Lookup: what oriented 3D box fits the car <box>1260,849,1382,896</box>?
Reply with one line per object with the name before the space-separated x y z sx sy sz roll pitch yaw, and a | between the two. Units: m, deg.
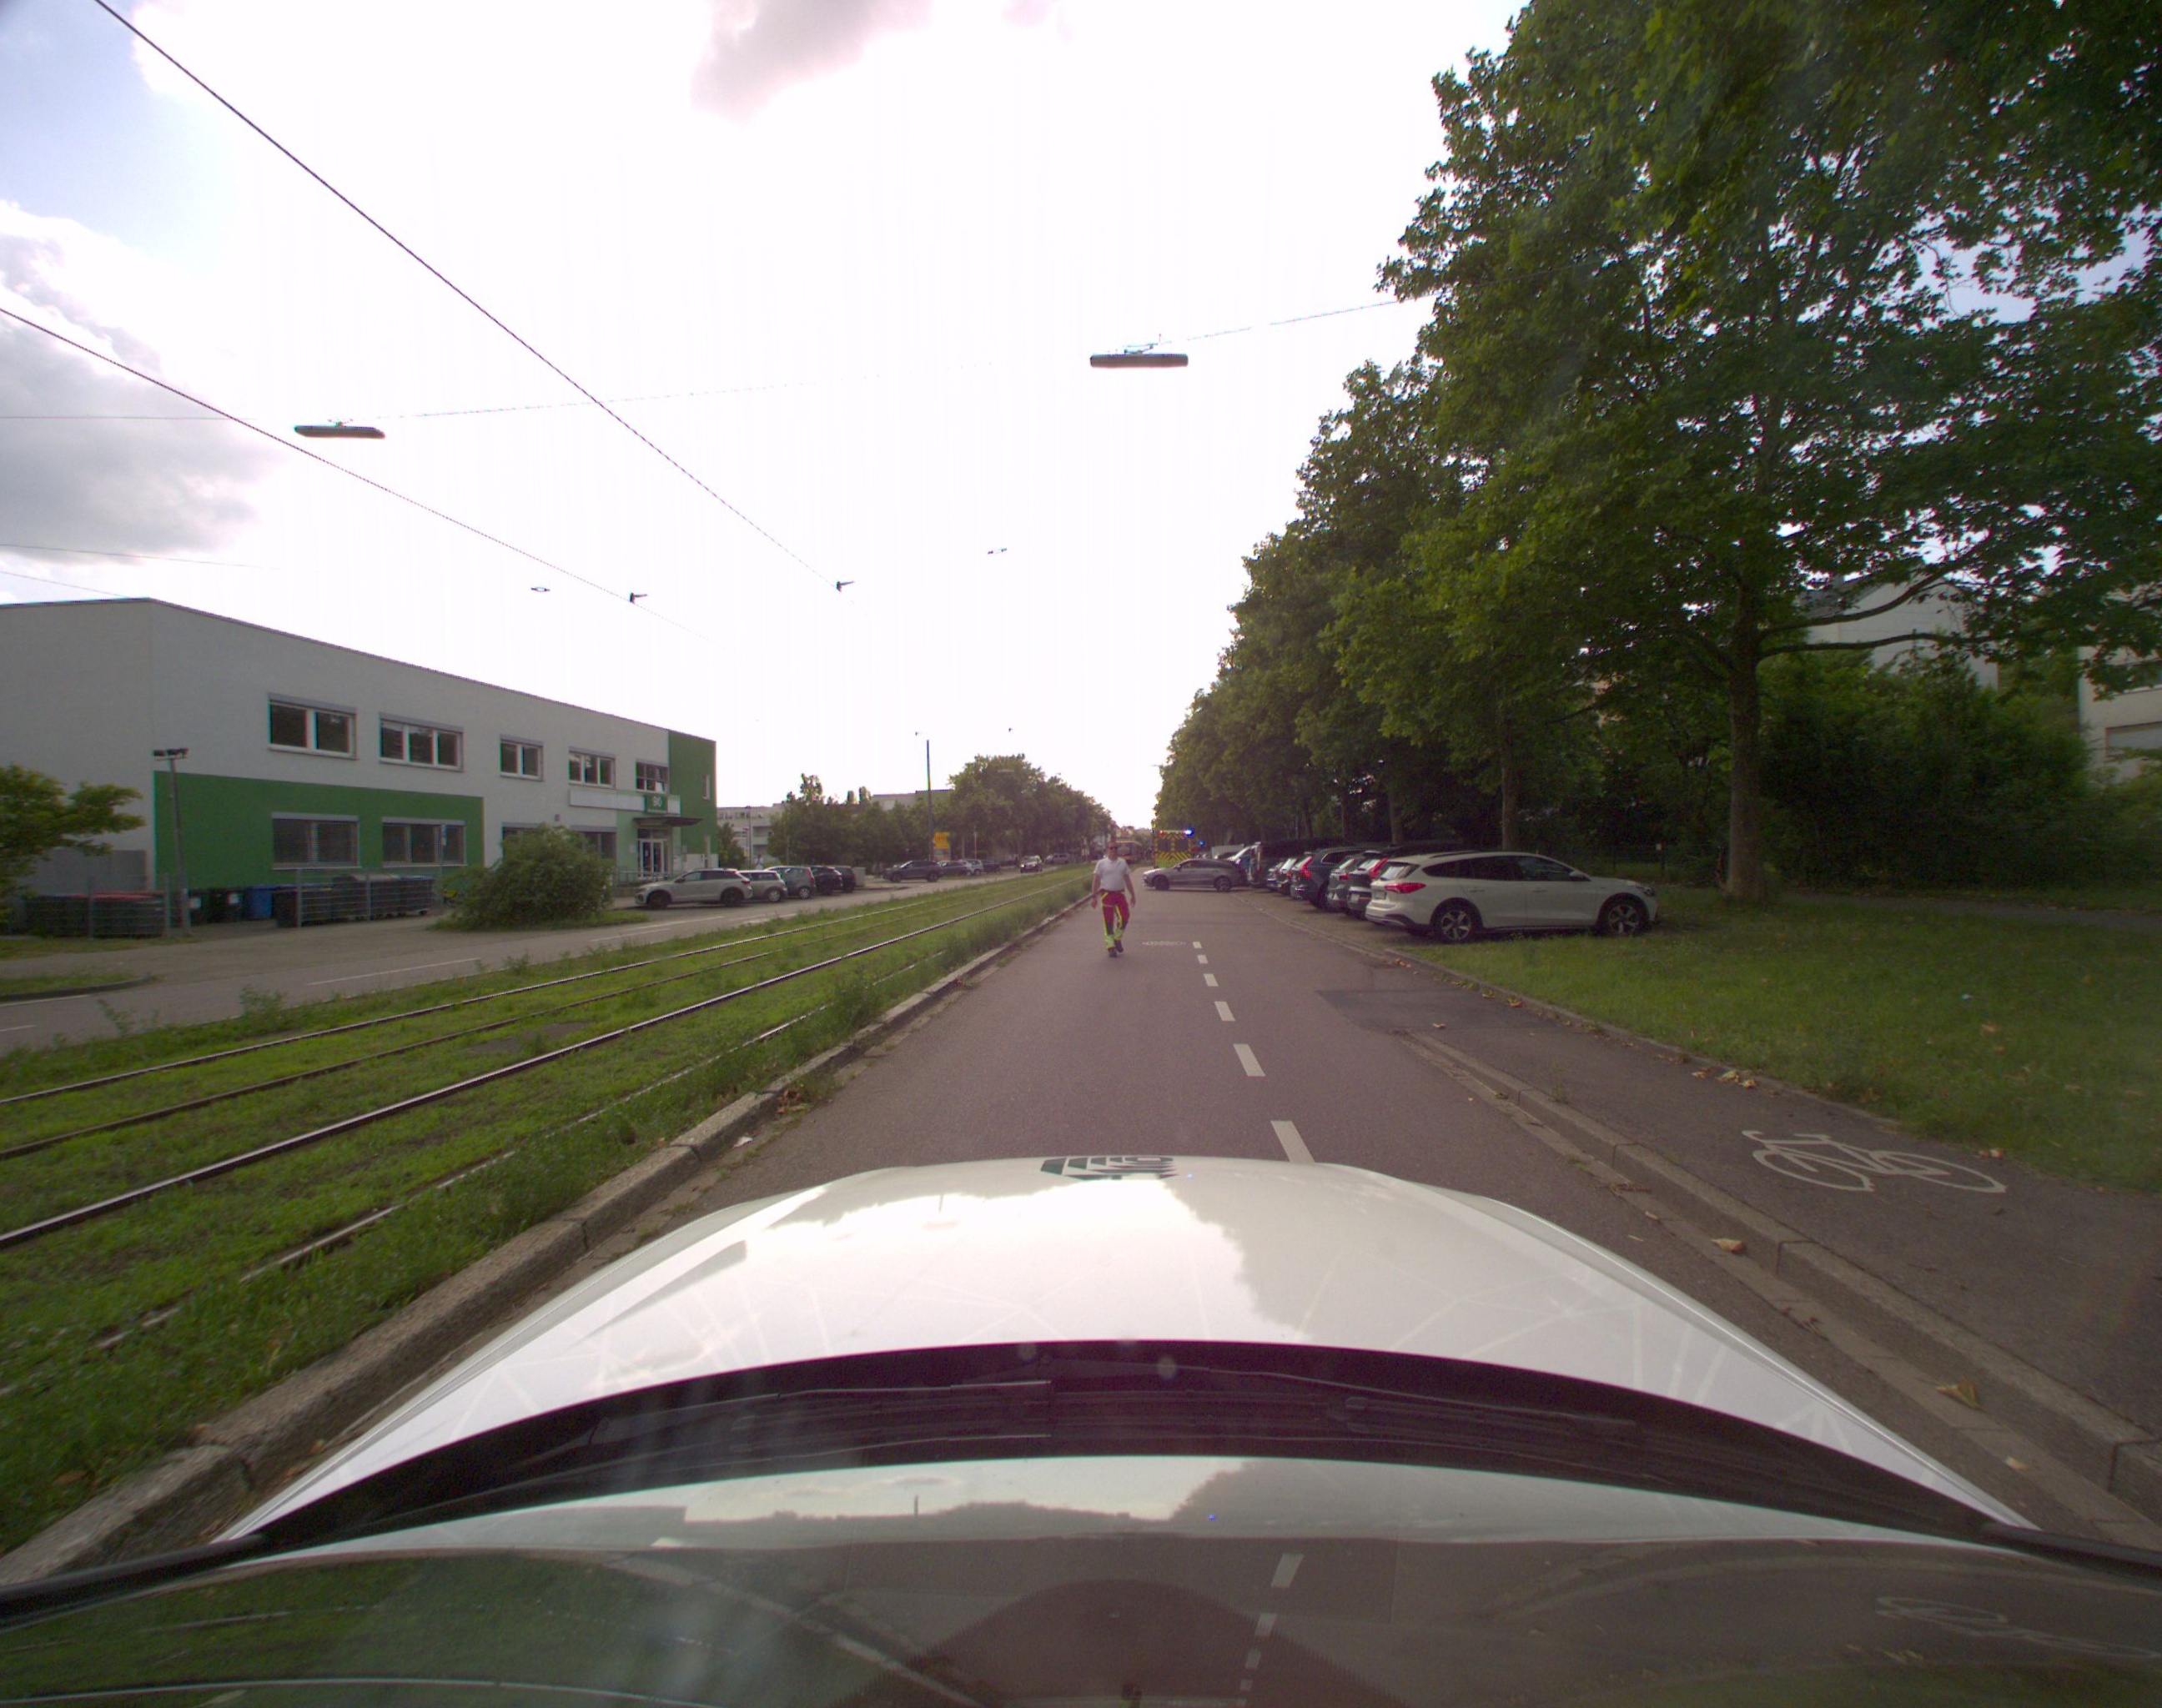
car | 8.678 0.657 29.730 3.947 1.494 1.758 -2 -1 5

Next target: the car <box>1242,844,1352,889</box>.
car | 9.665 0.555 36.712 4.524 1.766 1.858 -2 0 5

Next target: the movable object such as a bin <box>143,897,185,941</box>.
movable object such as a bin | -22.910 1.625 20.345 0.502 1.042 0.482 0 1 5

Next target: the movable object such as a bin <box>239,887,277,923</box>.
movable object such as a bin | -25.101 1.543 24.840 0.565 1.042 0.565 0 1 6

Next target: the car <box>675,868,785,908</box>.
car | -15.142 1.433 35.279 4.241 1.482 1.868 -2 0 -24

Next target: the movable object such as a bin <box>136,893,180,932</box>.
movable object such as a bin | -25.379 1.604 22.394 0.565 1.042 0.565 0 1 6

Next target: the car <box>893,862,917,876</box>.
car | -23.354 1.987 108.140 1.984 1.750 4.006 0 0 5

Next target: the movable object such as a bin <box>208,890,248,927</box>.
movable object such as a bin | -25.198 1.593 24.067 0.565 1.042 0.565 0 1 6

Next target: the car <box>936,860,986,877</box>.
car | -11.017 1.297 74.826 4.248 1.482 1.865 0 -1 -30

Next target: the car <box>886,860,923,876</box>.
car | -20.233 1.562 93.326 3.948 1.750 2.013 0 0 37

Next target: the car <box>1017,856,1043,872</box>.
car | -5.214 0.999 83.354 1.984 1.557 4.376 -3 0 5

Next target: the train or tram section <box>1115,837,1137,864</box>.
train or tram section | 6.304 -0.420 113.063 2.500 3.584 7.455 -3 -1 5

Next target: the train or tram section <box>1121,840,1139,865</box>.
train or tram section | 7.713 -0.204 127.896 2.500 3.584 7.455 -3 -1 5

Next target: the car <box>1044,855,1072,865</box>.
car | -4.140 1.100 147.357 4.646 1.633 1.863 -2 0 -34

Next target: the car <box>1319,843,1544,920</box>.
car | 7.823 0.595 18.546 4.357 1.501 1.760 -2 0 7

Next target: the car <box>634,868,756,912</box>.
car | -15.311 1.371 32.352 4.247 1.482 1.866 -2 0 -29

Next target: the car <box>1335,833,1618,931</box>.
car | 7.623 0.518 16.047 4.641 1.626 1.848 -2 0 1

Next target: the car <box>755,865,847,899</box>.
car | -14.228 1.393 41.378 4.241 1.482 1.868 -2 0 -24

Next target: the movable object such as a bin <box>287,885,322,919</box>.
movable object such as a bin | -24.937 1.543 26.151 0.565 1.042 0.565 0 1 6

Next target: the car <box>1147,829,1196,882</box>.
car | 5.471 0.093 48.852 2.627 2.966 6.312 1 0 7

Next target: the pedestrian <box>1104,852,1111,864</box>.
pedestrian | 3.307 0.490 101.174 0.876 1.525 0.752 0 -1 5

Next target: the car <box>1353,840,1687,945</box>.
car | 7.263 0.605 13.835 4.641 1.473 1.848 -2 0 1

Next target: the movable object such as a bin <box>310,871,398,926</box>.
movable object such as a bin | -21.909 1.320 24.578 1.000 1.519 1.715 0 1 8

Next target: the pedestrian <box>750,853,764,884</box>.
pedestrian | -19.730 0.881 49.573 0.543 1.828 0.509 -2 0 3

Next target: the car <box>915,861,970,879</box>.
car | -11.696 1.317 68.925 4.248 1.482 1.865 0 -1 -30

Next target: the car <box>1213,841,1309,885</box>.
car | 9.197 0.468 41.853 4.529 2.001 1.856 -2 0 1

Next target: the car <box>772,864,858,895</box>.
car | -14.494 1.373 44.388 4.241 1.482 1.868 -2 0 -24

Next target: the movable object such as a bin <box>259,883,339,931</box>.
movable object such as a bin | -22.114 1.482 23.051 1.000 1.234 1.259 0 1 8

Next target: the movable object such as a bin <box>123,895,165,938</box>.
movable object such as a bin | -23.464 1.555 20.398 0.491 1.042 0.480 0 1 5

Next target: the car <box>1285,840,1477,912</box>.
car | 7.690 0.561 21.248 4.357 1.639 1.760 -2 0 7

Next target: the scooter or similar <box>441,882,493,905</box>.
scooter or similar | -24.012 1.544 31.844 1.726 0.899 0.459 0 -1 5

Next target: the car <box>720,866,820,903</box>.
car | -14.612 1.387 38.317 4.241 1.482 1.868 -2 0 -24

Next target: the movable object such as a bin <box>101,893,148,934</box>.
movable object such as a bin | -25.436 1.584 21.658 0.565 1.042 0.565 0 1 6

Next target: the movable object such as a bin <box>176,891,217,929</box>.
movable object such as a bin | -25.308 1.600 23.306 0.565 1.042 0.565 0 1 6

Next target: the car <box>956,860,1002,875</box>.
car | -10.362 1.349 83.017 4.252 1.482 1.863 0 -1 -34

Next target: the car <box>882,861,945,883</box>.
car | -12.107 1.267 58.768 4.234 1.482 1.871 0 -1 -20

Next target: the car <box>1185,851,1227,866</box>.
car | 14.463 0.503 94.545 4.529 1.608 1.856 -2 0 1

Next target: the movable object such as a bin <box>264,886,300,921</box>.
movable object such as a bin | -25.003 1.552 25.490 0.565 1.042 0.565 0 1 6

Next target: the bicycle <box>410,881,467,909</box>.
bicycle | -23.937 1.522 30.336 1.848 0.986 0.459 0 -1 5

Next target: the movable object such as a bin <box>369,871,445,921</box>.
movable object such as a bin | -21.694 1.326 26.265 1.000 1.519 1.608 0 1 8

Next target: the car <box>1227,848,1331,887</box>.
car | 9.474 0.644 39.276 4.530 1.660 1.856 -2 0 1

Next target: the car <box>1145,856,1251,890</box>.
car | 5.164 0.818 35.922 4.420 1.385 1.774 0 0 16

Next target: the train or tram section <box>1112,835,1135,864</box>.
train or tram section | 5.611 -0.529 105.653 2.500 3.584 7.455 -3 -1 5

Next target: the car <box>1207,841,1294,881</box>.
car | 9.605 0.413 46.437 4.529 2.043 1.856 -2 0 1

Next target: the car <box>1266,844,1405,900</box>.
car | 8.343 0.585 26.867 3.959 1.605 1.753 -2 0 -5

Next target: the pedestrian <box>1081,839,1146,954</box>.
pedestrian | 0.485 0.623 12.455 0.804 1.686 0.848 -1 -1 -11

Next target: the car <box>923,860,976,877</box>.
car | -11.570 1.277 71.844 4.248 1.482 1.865 0 -1 -30

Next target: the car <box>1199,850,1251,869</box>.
car | 13.451 0.503 76.448 4.529 1.608 1.856 -2 0 1

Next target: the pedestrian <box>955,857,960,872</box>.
pedestrian | -14.014 1.145 92.397 0.464 1.676 0.604 -2 0 4

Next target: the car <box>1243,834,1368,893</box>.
car | 8.944 0.364 32.781 4.524 2.123 1.858 -2 -1 5
